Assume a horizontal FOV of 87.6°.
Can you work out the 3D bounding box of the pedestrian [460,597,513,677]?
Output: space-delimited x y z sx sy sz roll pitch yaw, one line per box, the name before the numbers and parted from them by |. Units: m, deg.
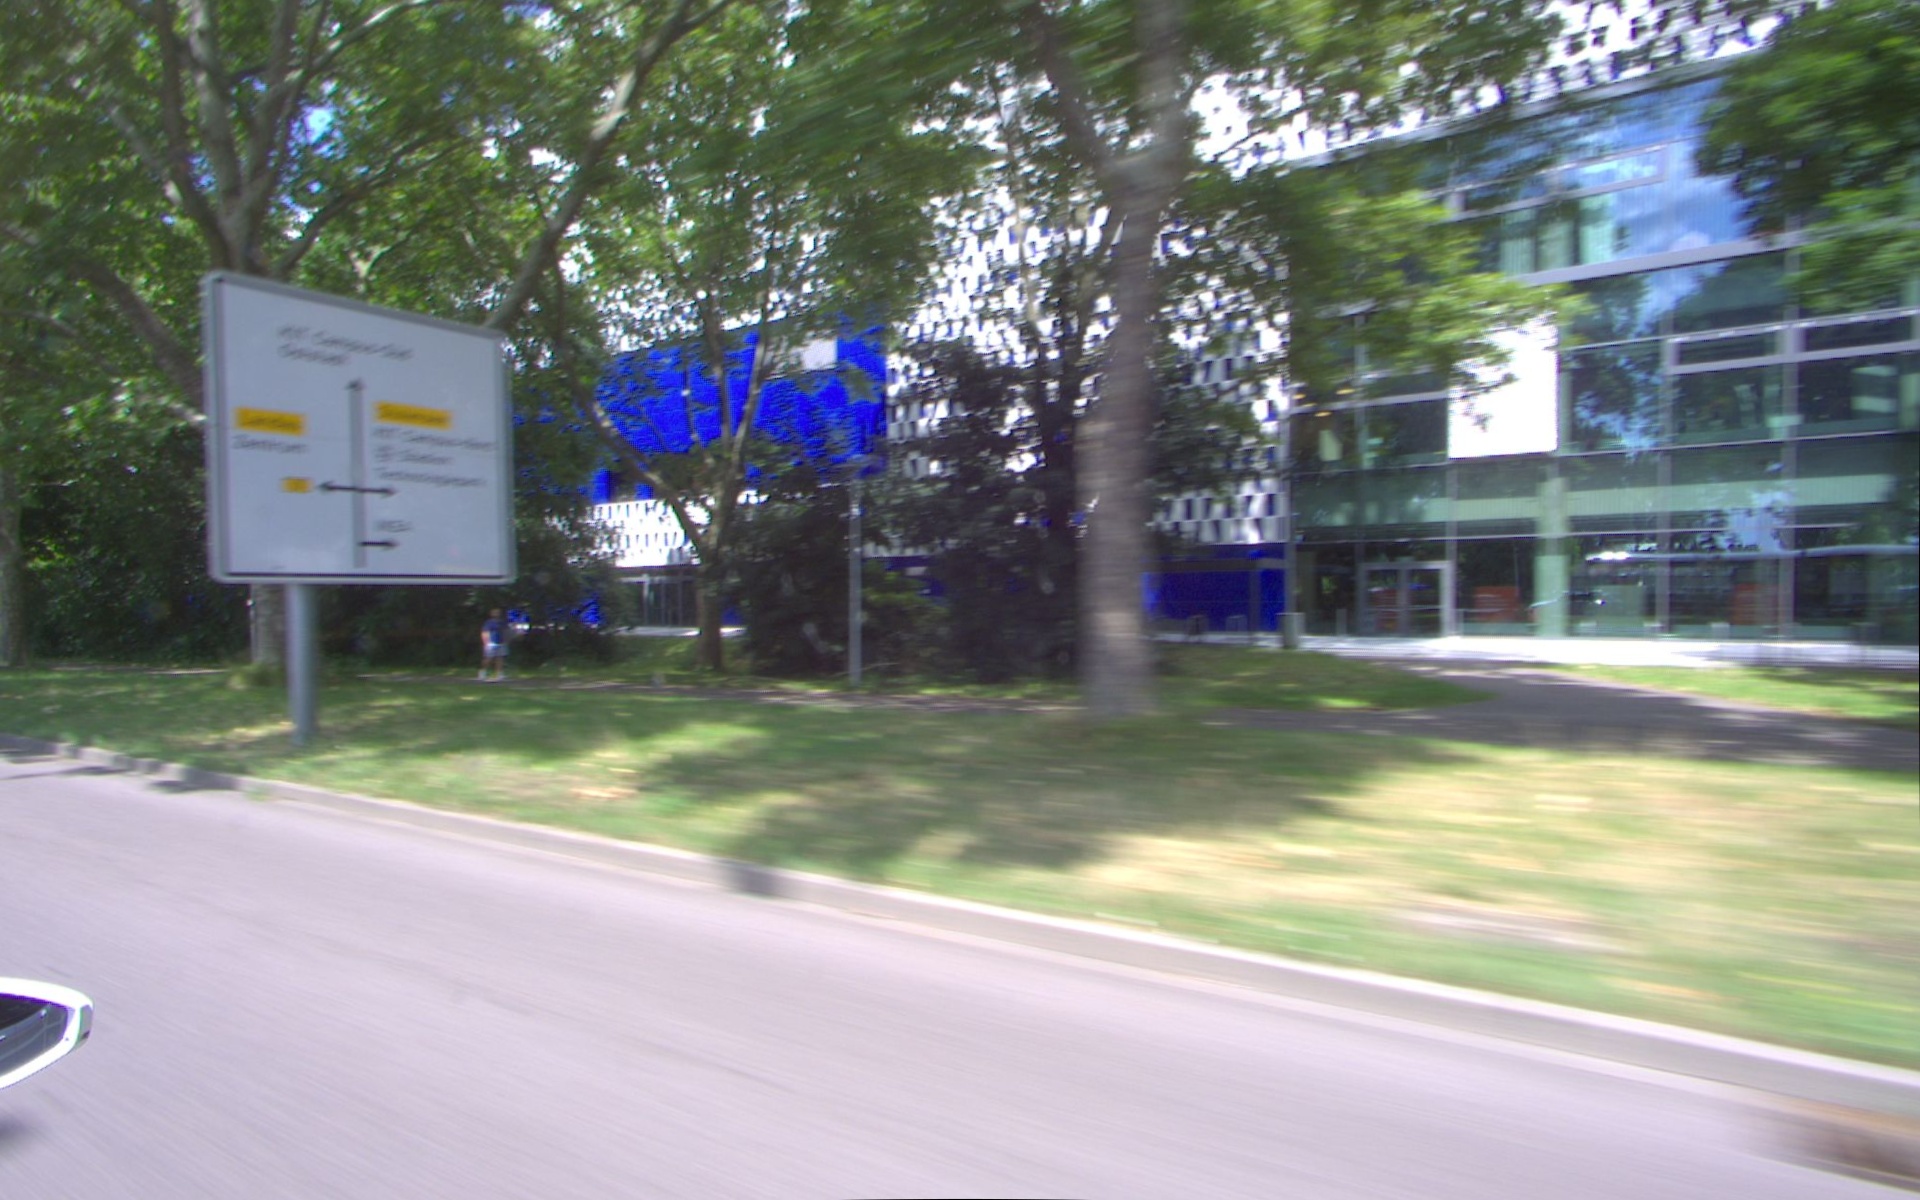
pedestrian | -12.305 0.963 26.027 0.943 2.039 0.835 0 -1 32
